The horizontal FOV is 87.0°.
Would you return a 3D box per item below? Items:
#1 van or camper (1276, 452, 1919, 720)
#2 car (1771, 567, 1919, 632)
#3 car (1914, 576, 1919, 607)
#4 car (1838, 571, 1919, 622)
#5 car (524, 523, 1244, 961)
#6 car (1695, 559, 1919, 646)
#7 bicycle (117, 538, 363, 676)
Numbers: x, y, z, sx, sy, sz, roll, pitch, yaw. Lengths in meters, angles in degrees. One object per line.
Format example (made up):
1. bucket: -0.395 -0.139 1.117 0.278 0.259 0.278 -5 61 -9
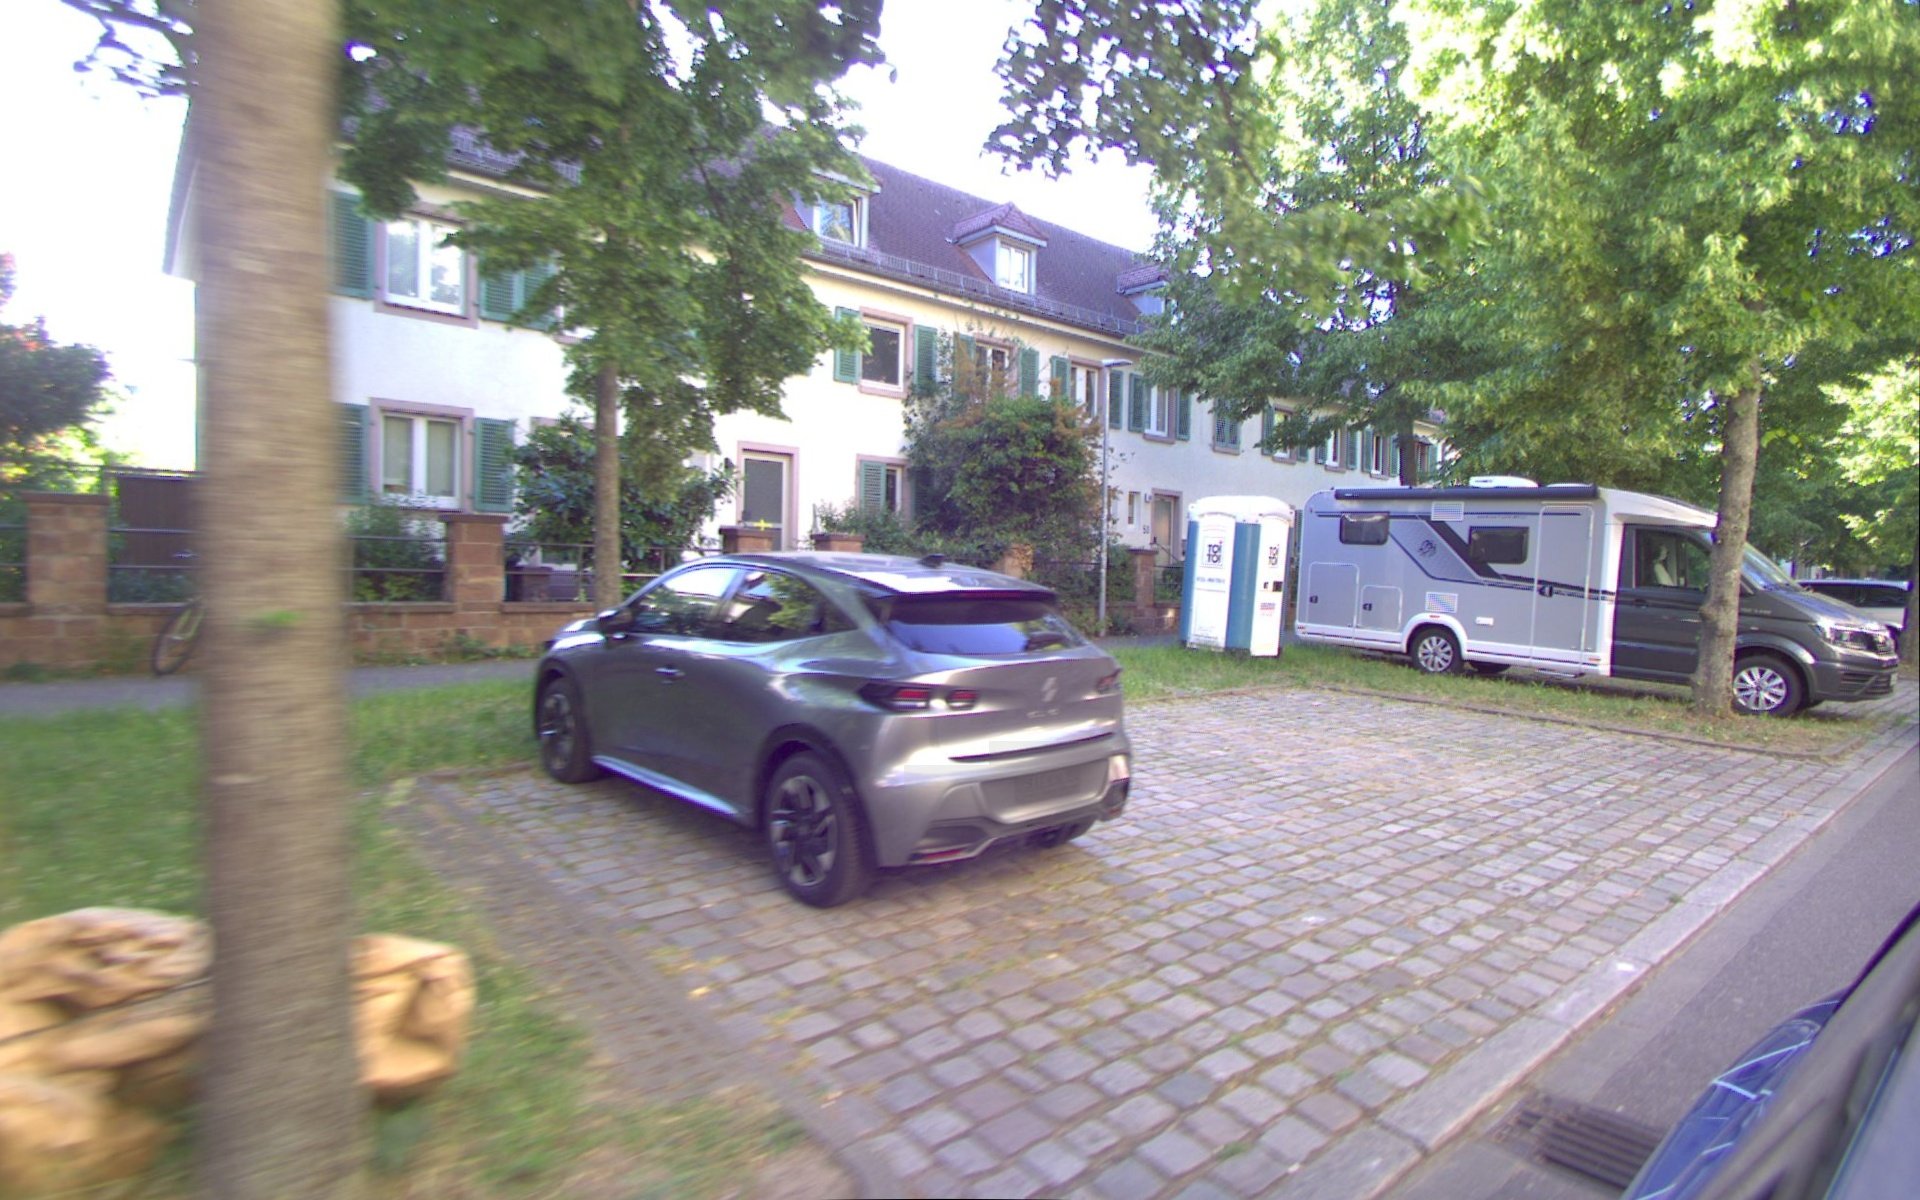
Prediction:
1. van or camper: 8.139 -0.463 13.641 2.419 2.678 7.170 0 5 -38
2. car: 27.978 -0.018 31.101 4.542 1.652 1.784 7 5 44
3. car: 50.331 -0.225 49.706 1.862 1.557 4.848 0 5 -42
4. car: 35.964 -0.048 37.659 1.872 1.697 4.596 0 5 -38
5. car: -0.724 0.396 5.430 1.663 1.472 4.036 0 2 -44
6. car: 20.560 0.014 24.054 1.800 1.730 4.633 0 4 -39
7. bicycle: -6.525 0.035 9.237 1.788 1.142 0.565 -1 4 -41
